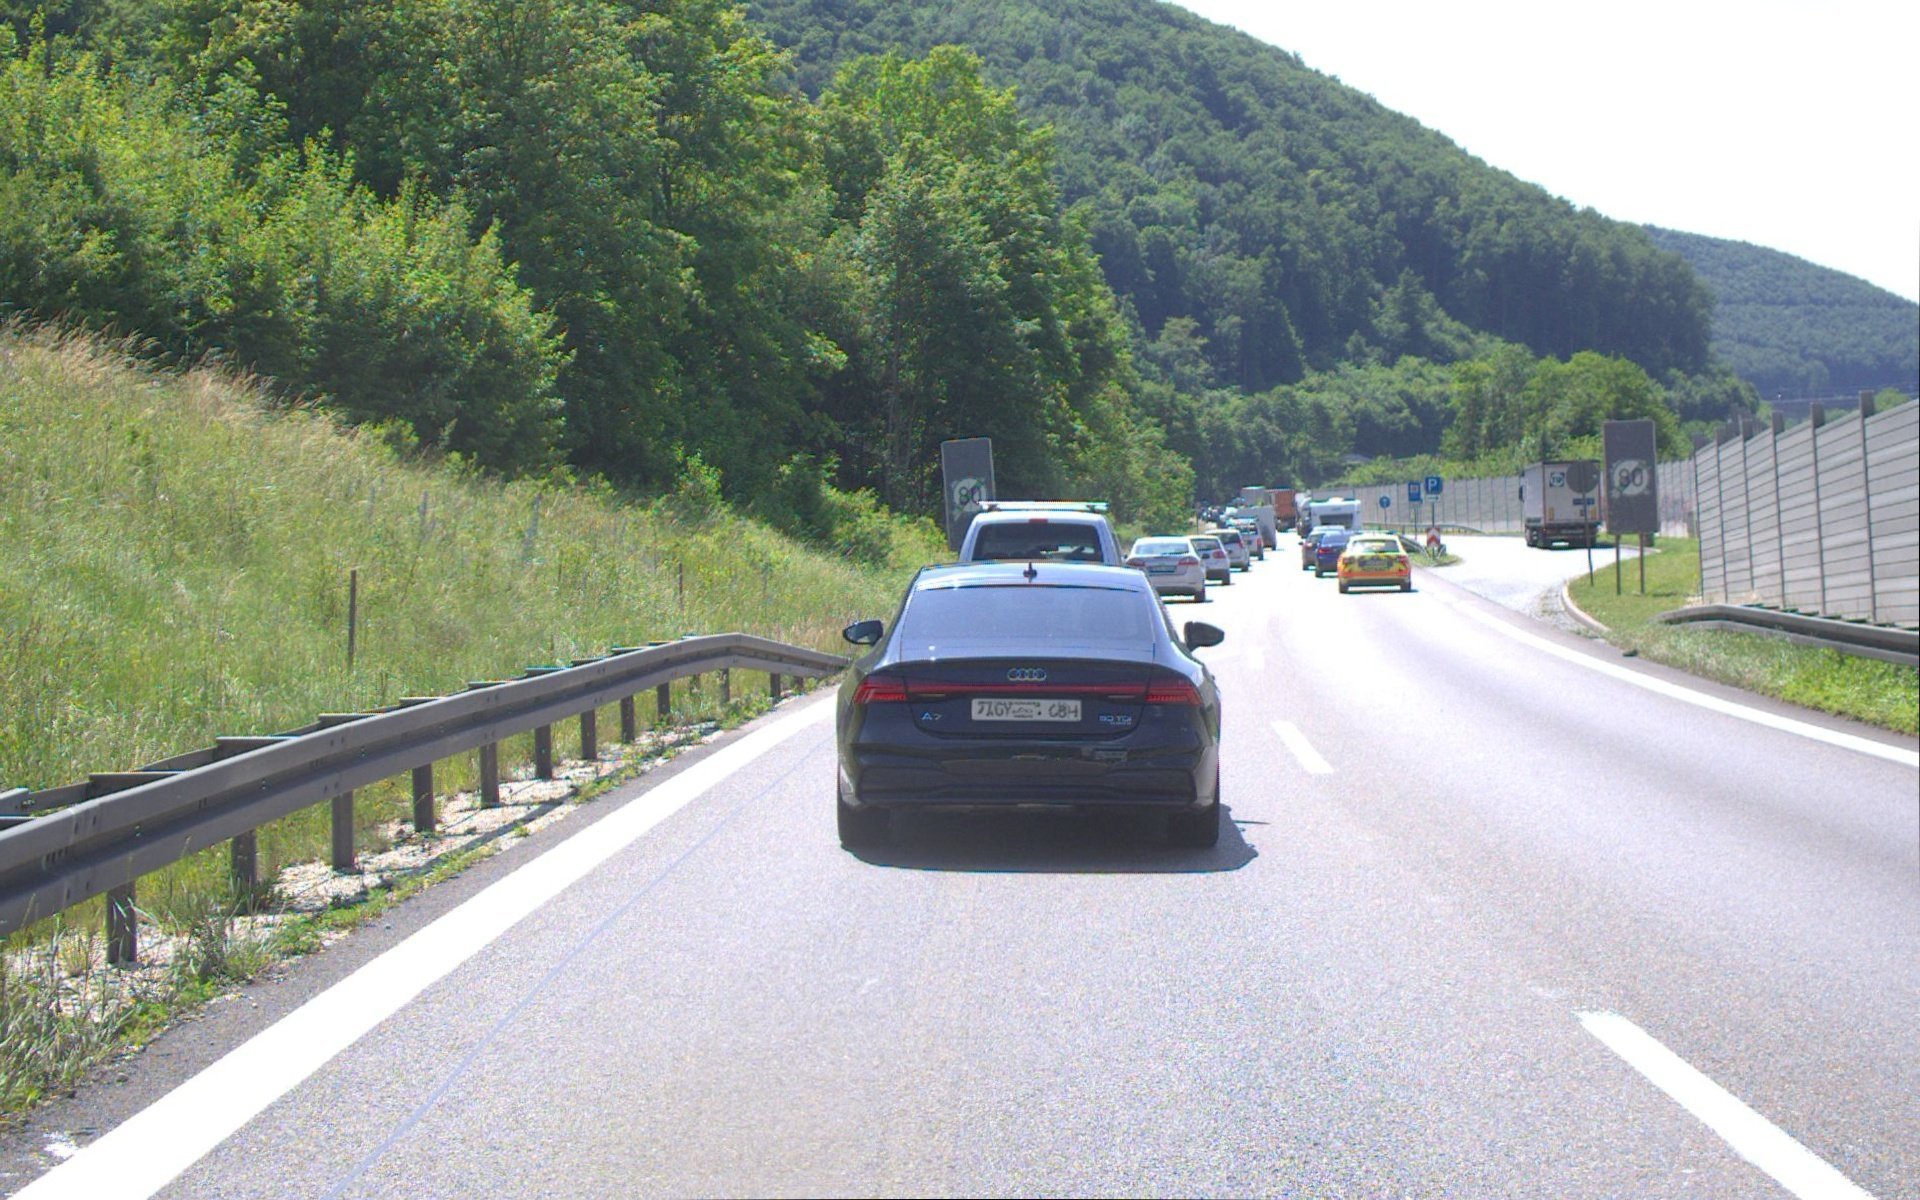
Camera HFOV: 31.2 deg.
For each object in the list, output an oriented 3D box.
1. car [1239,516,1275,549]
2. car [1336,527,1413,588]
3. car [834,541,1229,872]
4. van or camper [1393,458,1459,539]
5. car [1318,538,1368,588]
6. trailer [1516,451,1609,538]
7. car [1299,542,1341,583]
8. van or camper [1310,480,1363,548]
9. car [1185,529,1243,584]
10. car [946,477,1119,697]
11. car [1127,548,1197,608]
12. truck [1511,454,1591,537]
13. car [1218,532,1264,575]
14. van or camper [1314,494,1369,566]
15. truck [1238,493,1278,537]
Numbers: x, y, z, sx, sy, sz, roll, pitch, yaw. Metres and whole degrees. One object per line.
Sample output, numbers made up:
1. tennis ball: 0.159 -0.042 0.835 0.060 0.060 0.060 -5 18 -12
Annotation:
1. car: 14.251 -3.228 165.069 1.521 1.547 3.513 2 1 7
2. car: 10.471 -1.092 87.001 1.879 1.493 3.999 0 1 6
3. car: 0.283 0.463 17.647 1.812 1.509 3.515 0 1 -2
4. van or camper: 22.968 -4.966 169.710 2.795 3.828 6.166 1 1 4
5. car: 12.060 -1.159 108.277 1.530 1.520 3.596 1 1 6
6. trailer: 27.920 -4.856 159.786 3.412 3.887 11.149 0 1 6
7. car: 13.527 -1.402 129.279 1.530 1.520 3.596 1 1 6
8. van or camper: 22.184 -5.035 202.684 2.795 3.894 6.166 1 1 4
9. car: 7.510 -1.278 101.376 1.521 1.547 3.513 2 1 6
10. car: 0.708 -0.154 33.094 1.521 1.961 3.514 2 1 2
11. car: 4.575 -0.514 77.733 1.521 1.290 3.514 1 1 3
12. truck: 28.411 -5.012 165.519 3.412 3.887 5.386 0 1 6
13. car: 10.623 -1.749 129.960 1.521 1.547 3.513 2 1 7
14. van or camper: 17.363 -3.161 156.613 2.430 3.144 5.202 1 1 6
15. truck: 18.204 -5.170 209.615 2.065 2.596 5.612 2 1 8
